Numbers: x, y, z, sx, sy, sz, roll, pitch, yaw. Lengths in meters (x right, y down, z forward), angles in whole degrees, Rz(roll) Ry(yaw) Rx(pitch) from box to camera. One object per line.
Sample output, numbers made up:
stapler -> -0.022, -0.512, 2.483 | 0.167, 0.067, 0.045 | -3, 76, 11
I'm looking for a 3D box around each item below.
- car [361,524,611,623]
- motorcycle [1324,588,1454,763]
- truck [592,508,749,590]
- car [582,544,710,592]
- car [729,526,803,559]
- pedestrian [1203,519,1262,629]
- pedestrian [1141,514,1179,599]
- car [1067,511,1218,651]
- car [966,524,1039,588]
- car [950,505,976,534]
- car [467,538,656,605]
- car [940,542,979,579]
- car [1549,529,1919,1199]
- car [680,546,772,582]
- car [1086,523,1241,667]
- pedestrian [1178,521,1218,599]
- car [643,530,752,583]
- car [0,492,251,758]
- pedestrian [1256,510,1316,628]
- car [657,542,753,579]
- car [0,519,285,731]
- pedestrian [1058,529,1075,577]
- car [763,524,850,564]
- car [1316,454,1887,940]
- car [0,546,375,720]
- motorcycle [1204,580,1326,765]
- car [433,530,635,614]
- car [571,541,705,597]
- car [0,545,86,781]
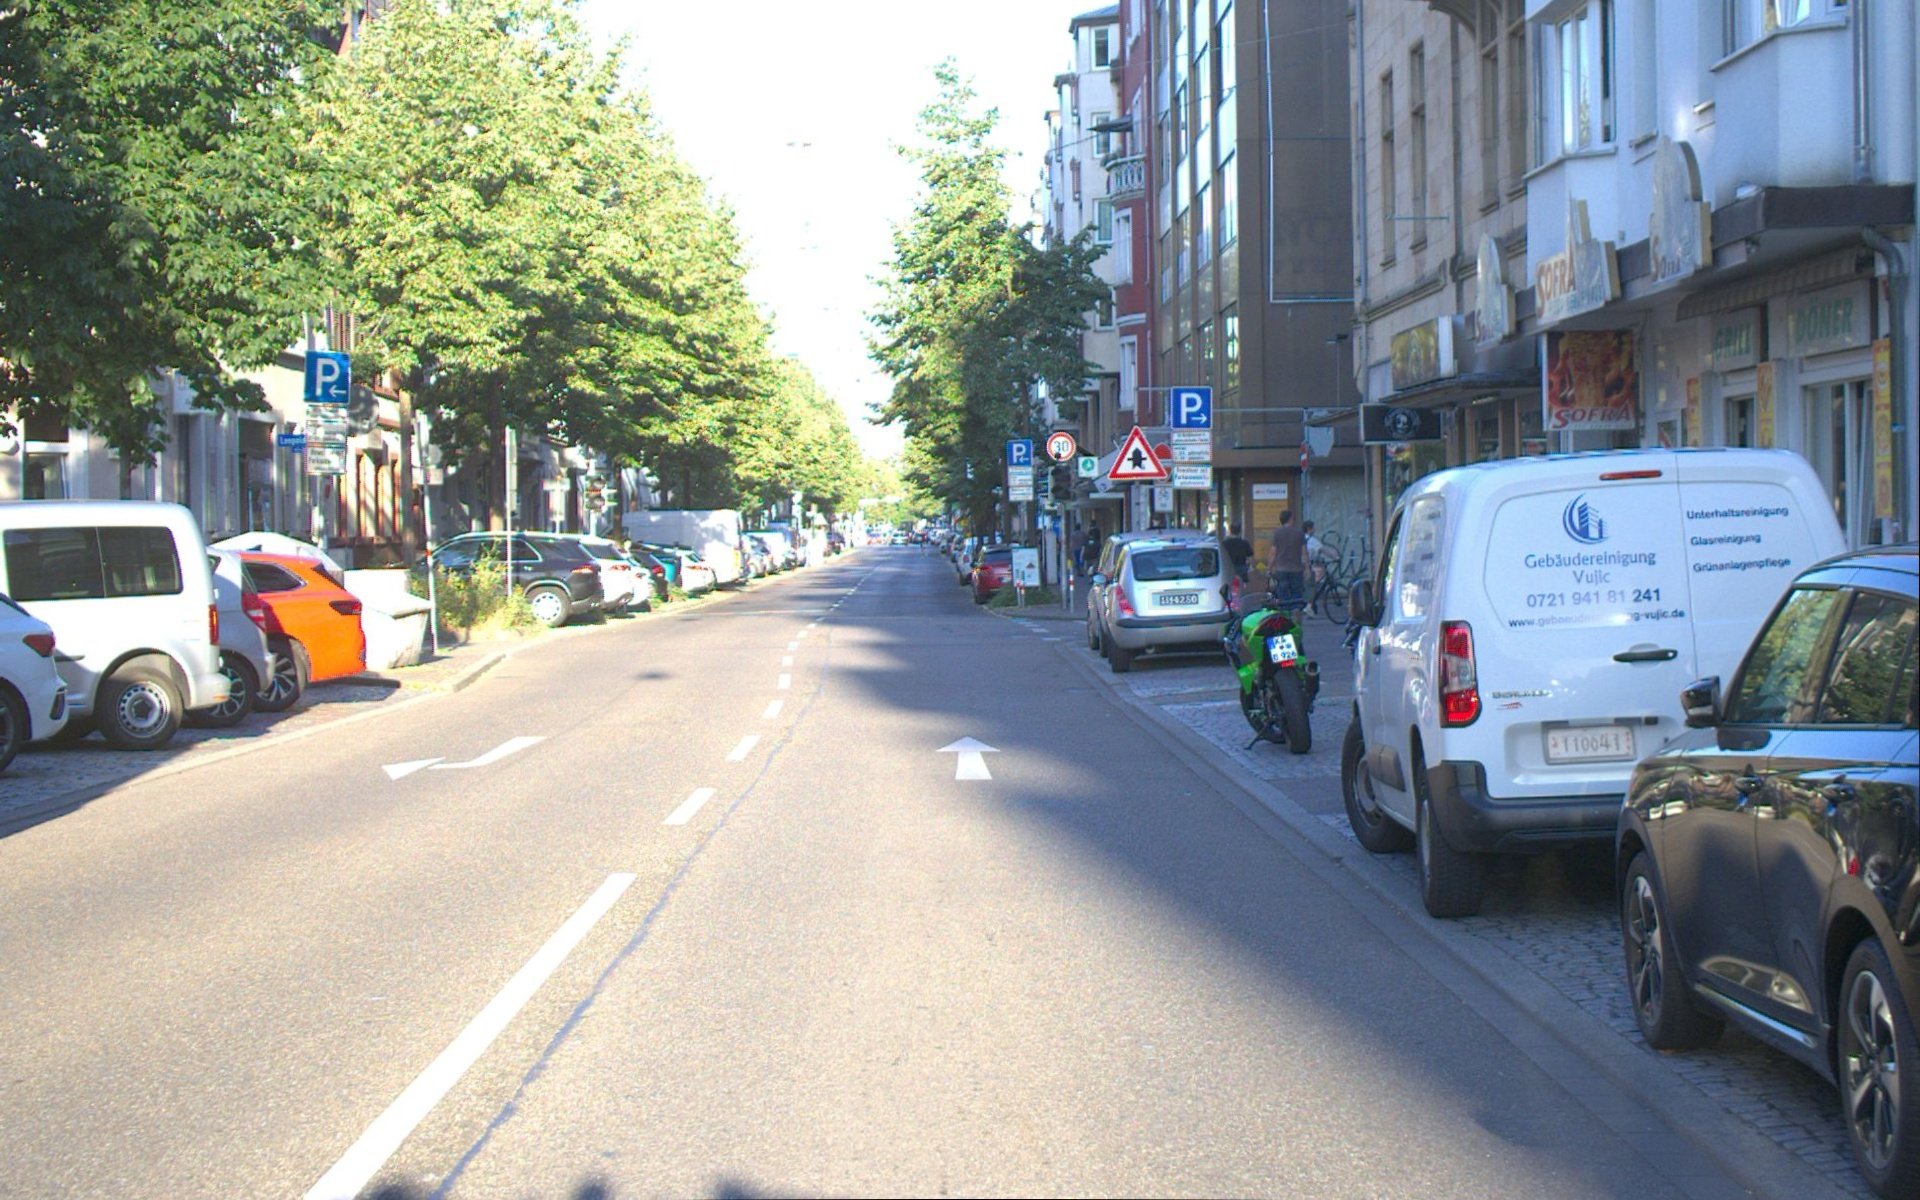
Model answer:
car -> -8.874, -0.511, 64.656 | 4.448, 1.829, 2.034 | 0, 1, -1
motorcycle -> 2.993, 0.501, 24.158 | 0.588, 1.119, 2.210 | 0, 2, -1
truck -> -9.313, -1.642, 110.913 | 4.940, 2.606, 2.000 | 0, 1, -1
car -> -9.538, -0.976, 104.620 | 3.739, 1.445, 2.000 | 0, 1, -1
car -> -10.026, -2.970, 177.578 | 3.739, 1.702, 2.000 | 0, 1, -1
pedestrian -> 4.113, -0.402, 52.028 | 0.755, 1.634, 1.259 | 0, 1, -1
pedestrian -> 4.399, -0.962, 75.651 | 0.714, 1.859, 0.680 | -1, 1, -3
car -> 2.407, -0.293, 46.189 | 1.696, 1.763, 4.001 | -1, 2, -1
car -> 1.065, -1.118, 88.321 | 1.576, 1.537, 3.397 | -3, 1, -3
car -> 0.169, -4.461, 190.932 | 1.308, 1.594, 2.661 | 0, 0, -3
car -> -9.191, -0.666, 79.520 | 4.175, 1.502, 2.000 | 0, 1, -1
car -> -0.011, -1.380, 120.326 | 1.206, 1.296, 2.661 | 0, 0, -3
car -> 2.727, 0.603, 8.894 | 1.667, 1.539, 3.883 | 0, 2, -1
car -> -9.797, -1.528, 143.886 | 3.739, 1.487, 2.000 | 0, 1, -1
car -> 2.409, -0.099, 41.482 | 1.680, 1.555, 4.000 | -2, 2, 2
pedestrian -> 5.232, -0.878, 75.618 | 0.765, 1.683, 0.786 | -2, 1, -3
car -> -9.265, -1.538, 121.656 | 3.739, 1.852, 2.000 | 0, 1, -1
car -> -7.391, 0.155, 24.953 | 3.988, 1.871, 1.871 | -1, 2, -36
pedestrian -> 4.934, -0.483, 52.131 | 0.755, 1.761, 1.222 | 0, 1, -1
car -> -10.308, -1.592, 139.095 | 3.739, 1.445, 2.000 | -1, 1, -1
car -> -7.767, 0.182, 28.250 | 3.988, 1.690, 1.749 | 0, 1, -36
pedestrian -> 3.592, -1.591, 116.117 | 0.534, 1.616, 0.534 | 0, 1, 0
car -> -6.721, -2.463, 150.909 | 3.739, 1.702, 2.000 | 0, 1, -1
car -> 2.646, 0.310, 15.140 | 1.710, 1.828, 4.306 | 0, 2, 0
car -> -7.648, 0.268, 31.674 | 3.987, 1.480, 2.000 | -1, 1, -30
motorcycle -> 2.170, 0.491, 24.681 | 0.588, 1.196, 2.210 | -2, 2, -1
car -> -8.825, -0.597, 71.460 | 3.989, 1.702, 1.833 | 0, 1, -1
car -> -9.297, -0.911, 99.513 | 3.739, 1.590, 2.000 | 0, 1, -1
car -> -7.729, 0.389, 21.490 | 3.988, 1.487, 1.849 | 0, 1, -39
